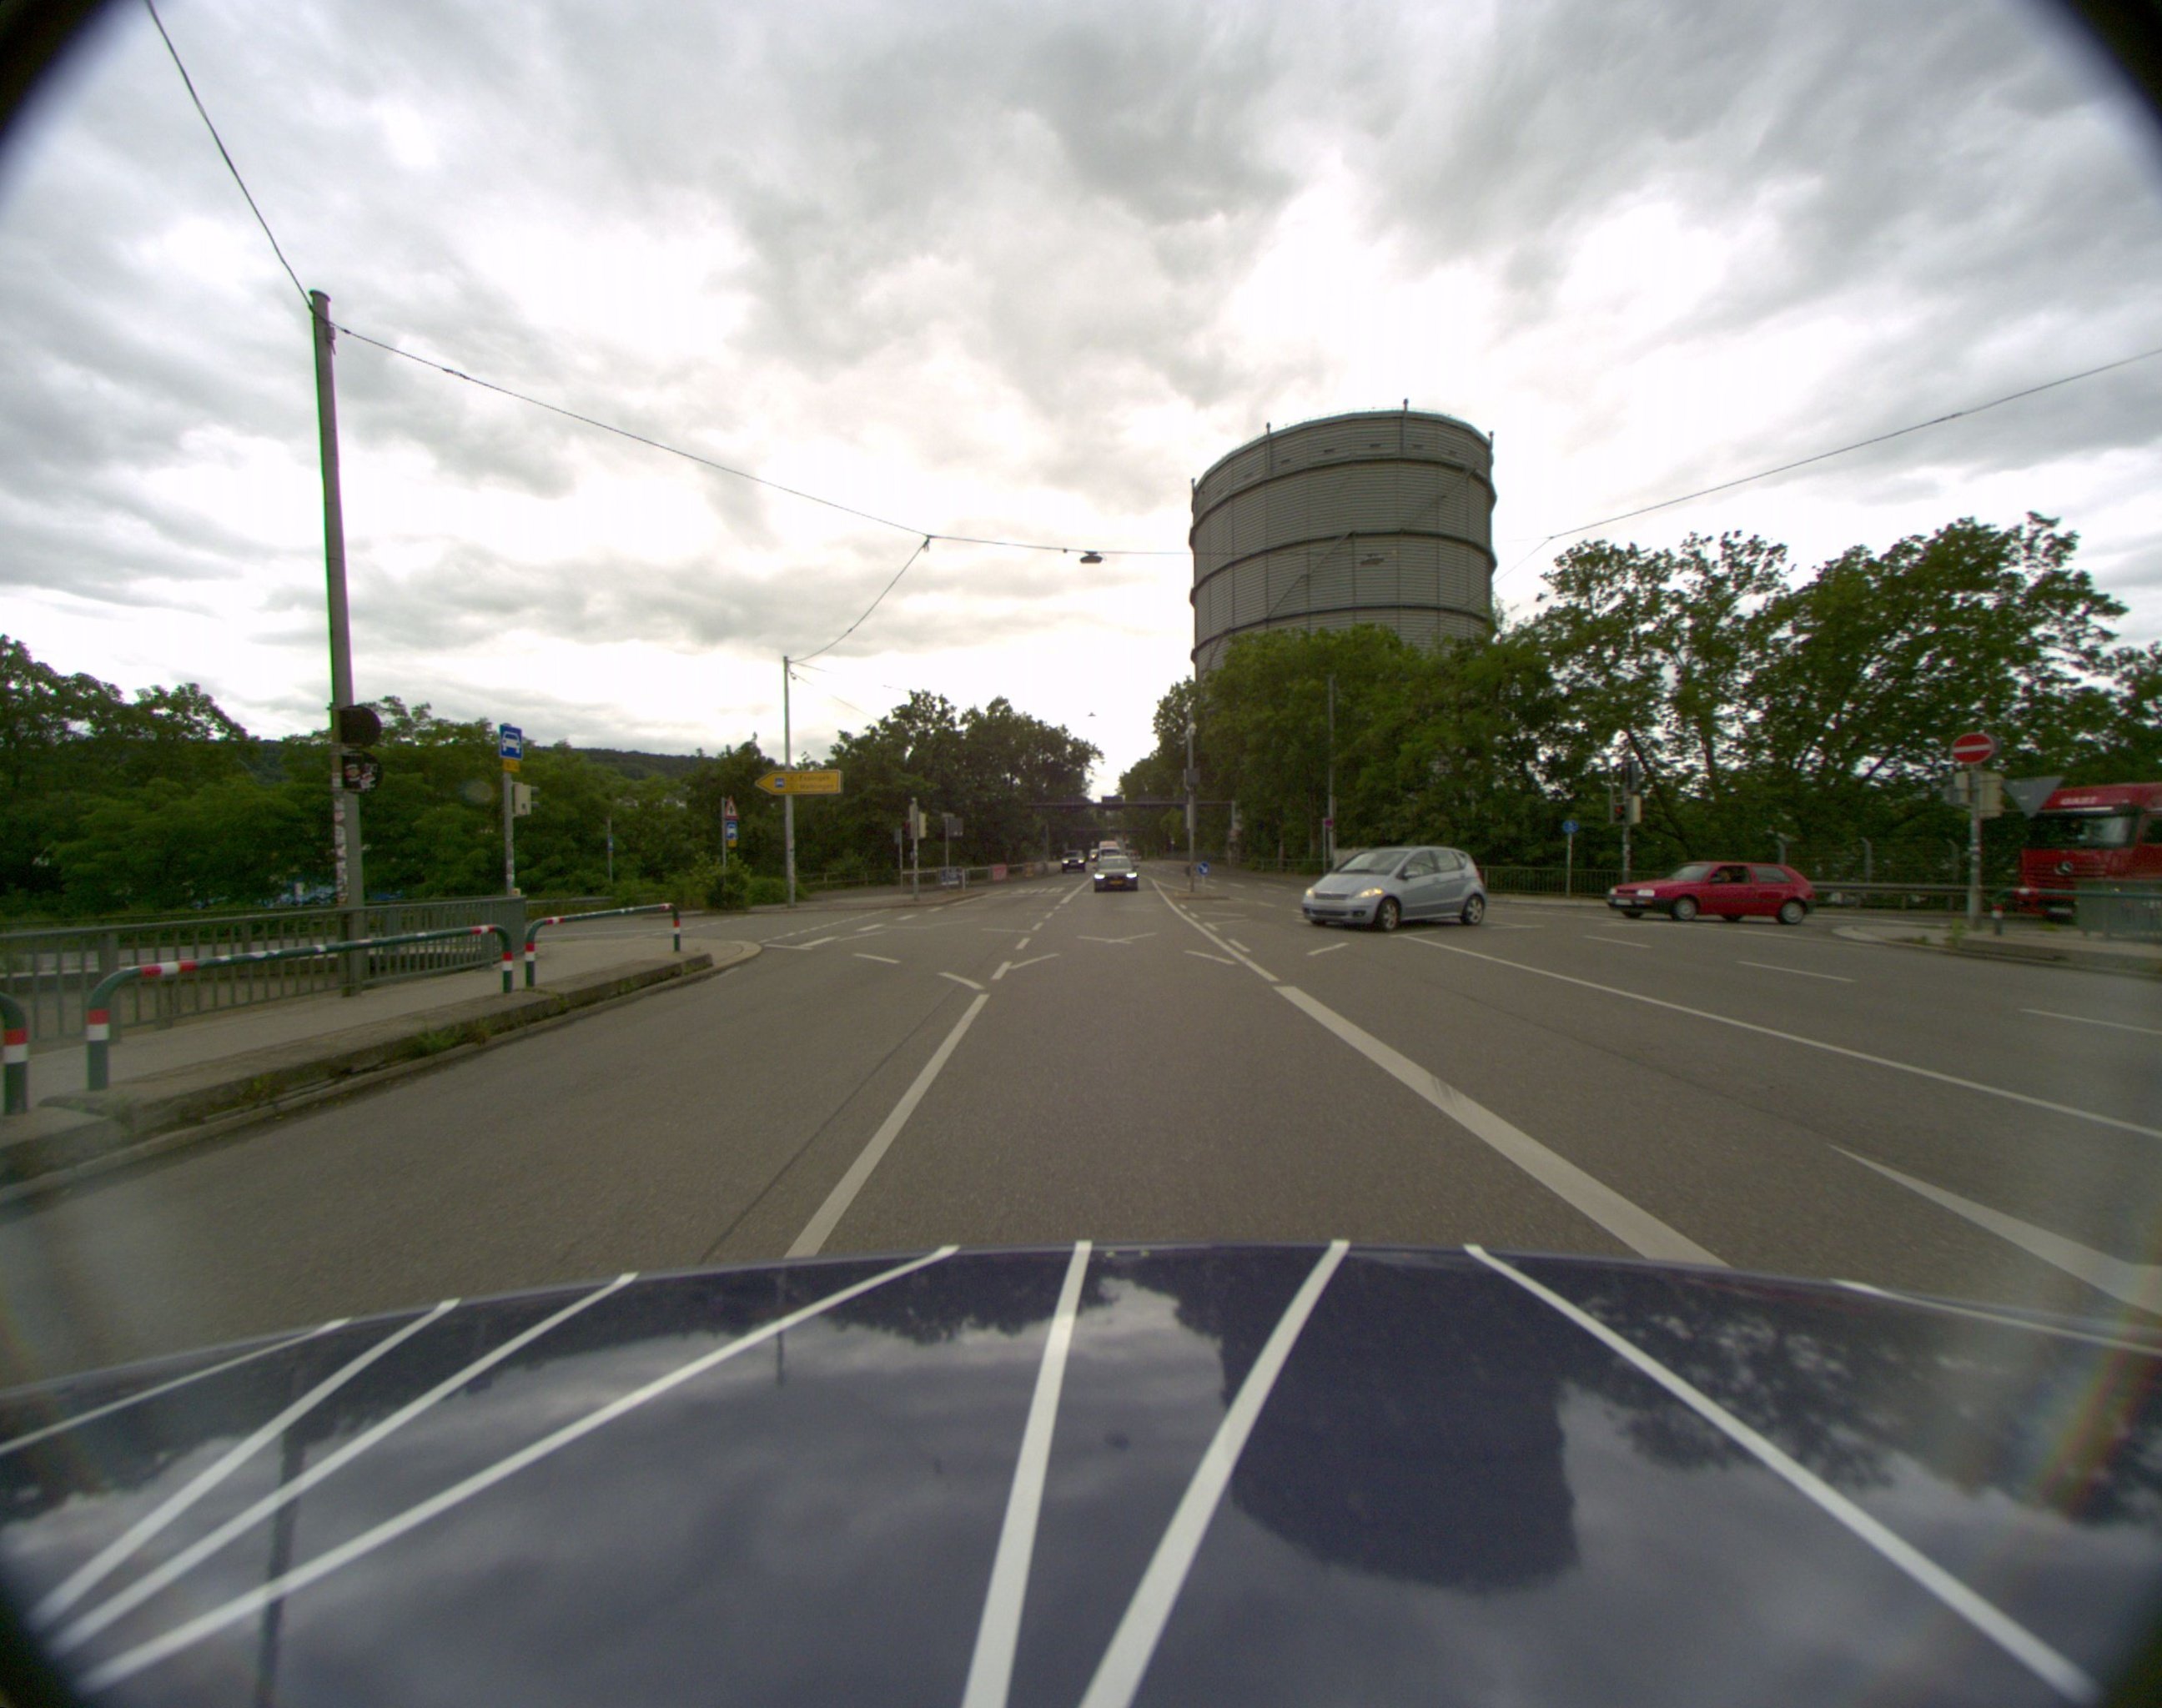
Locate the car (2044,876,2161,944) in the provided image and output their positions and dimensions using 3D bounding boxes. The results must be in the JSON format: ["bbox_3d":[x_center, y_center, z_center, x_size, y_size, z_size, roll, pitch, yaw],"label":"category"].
[{"bbox_3d":[25.846,1.265,17.719,4.463,1.412,1.698,-1,0,3],"label":"car"}]

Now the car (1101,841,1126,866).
[{"bbox_3d":[2.614,-0.028,61.993,1.933,1.987,4.453,0,0,1],"label":"car"}]

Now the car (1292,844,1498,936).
[{"bbox_3d":[6.160,0.660,14.896,3.688,1.594,1.744,1,0,-28],"label":"car"}]

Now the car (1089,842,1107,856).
[{"bbox_3d":[2.445,-0.788,110.300,2.330,1.905,5.400,1,2,4],"label":"car"}]

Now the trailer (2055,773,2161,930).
[{"bbox_3d":[36.417,0.159,20.947,13.769,4.296,3.672,2,0,2],"label":"trailer"}]

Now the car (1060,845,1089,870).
[{"bbox_3d":[-0.467,0.245,64.276,2.331,1.905,4.946,0,3,1],"label":"car"}]

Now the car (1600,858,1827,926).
[{"bbox_3d":[14.737,0.867,17.836,3.953,1.454,1.748,1,0,-3],"label":"car"}]

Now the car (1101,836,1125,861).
[{"bbox_3d":[3.345,-0.588,80.643,2.331,2.509,4.948,1,1,1],"label":"car"}]

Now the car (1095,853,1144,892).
[{"bbox_3d":[1.686,0.749,32.578,1.932,1.412,4.452,-1,2,4],"label":"car"}]

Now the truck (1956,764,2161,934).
[{"bbox_3d":[30.253,-0.021,21.138,7.229,4.296,3.672,2,0,2],"label":"truck"}]
